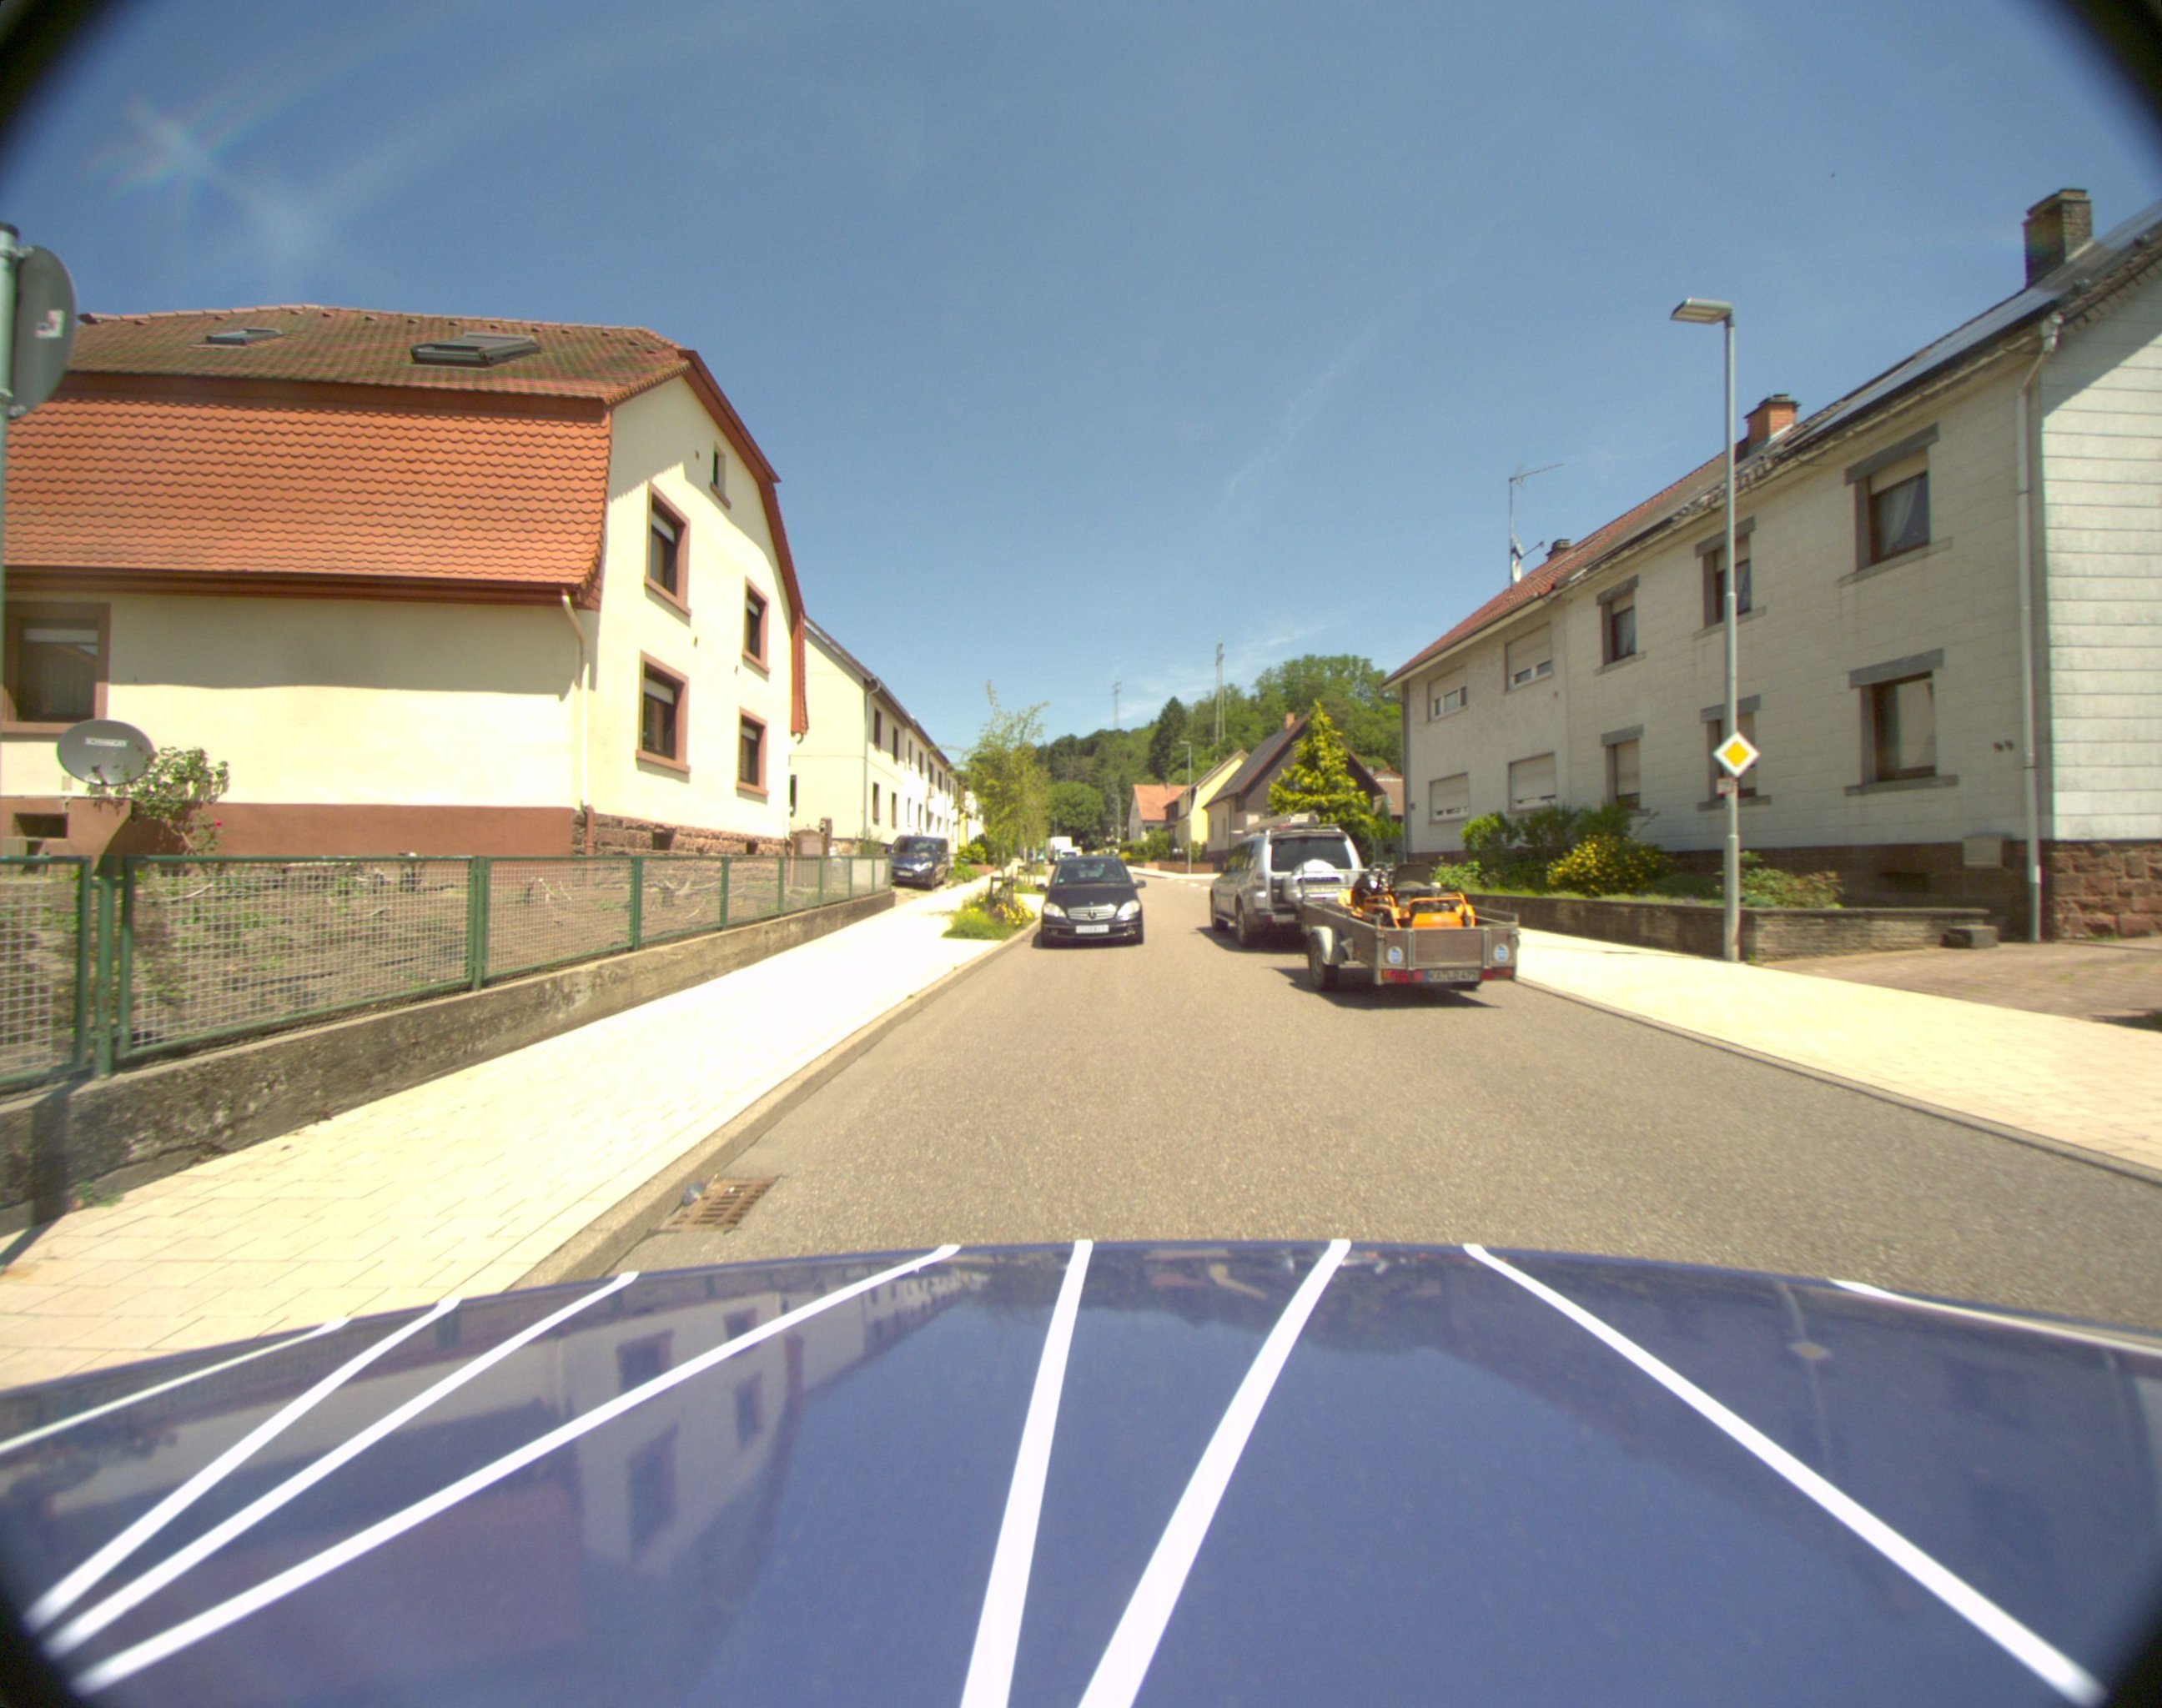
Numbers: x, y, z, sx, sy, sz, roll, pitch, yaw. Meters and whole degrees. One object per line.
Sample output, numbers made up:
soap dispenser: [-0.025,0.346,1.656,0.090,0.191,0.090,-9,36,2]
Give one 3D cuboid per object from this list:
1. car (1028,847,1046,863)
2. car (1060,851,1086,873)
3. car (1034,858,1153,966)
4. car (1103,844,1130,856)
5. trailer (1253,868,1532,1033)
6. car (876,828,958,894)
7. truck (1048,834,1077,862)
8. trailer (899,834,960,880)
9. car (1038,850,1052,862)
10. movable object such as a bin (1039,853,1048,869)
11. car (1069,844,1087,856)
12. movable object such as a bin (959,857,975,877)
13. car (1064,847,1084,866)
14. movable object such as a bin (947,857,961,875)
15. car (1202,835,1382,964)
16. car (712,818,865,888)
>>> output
car: [-5.188,0.089,88.229,1.861,1.832,4.667,1,0,-6]
car: [-0.609,0.554,55.655,1.715,1.595,3.878,0,1,-3]
car: [0.178,0.907,13.817,1.790,1.595,4.075,-2,0,-1]
car: [5.992,-0.677,127.742,4.005,1.779,1.807,-2,1,-25]
trailer: [3.314,0.916,9.076,1.578,1.388,4.402,-1,0,1]
car: [-6.044,0.231,28.661,1.857,1.959,4.772,10,0,-2]
truck: [-2.434,-0.761,97.888,2.808,3.394,8.113,2,0,-7]
trailer: [-6.725,0.110,33.878,1.320,2.002,2.278,0,1,40]
car: [-5.453,0.260,115.867,1.999,1.805,3.999,-1,0,-1]
movable object such as a bin: [-3.339,0.588,67.311,0.794,1.387,0.925,-1,1,-5]
car: [-0.579,-0.636,129.729,1.706,1.938,3.992,-2,1,-21]
movable object such as a bin: [-6.498,0.740,43.202,0.685,1.109,0.812,3,1,3]
car: [-0.741,0.204,76.517,1.968,1.823,4.464,1,0,-1]
movable object such as a bin: [-7.182,0.675,43.045,0.559,0.980,0.803,4,1,4]
car: [3.403,0.651,13.229,1.894,1.850,4.577,0,0,0]
car: [-9.203,-0.043,24.188,3.998,1.755,1.891,6,1,-2]
